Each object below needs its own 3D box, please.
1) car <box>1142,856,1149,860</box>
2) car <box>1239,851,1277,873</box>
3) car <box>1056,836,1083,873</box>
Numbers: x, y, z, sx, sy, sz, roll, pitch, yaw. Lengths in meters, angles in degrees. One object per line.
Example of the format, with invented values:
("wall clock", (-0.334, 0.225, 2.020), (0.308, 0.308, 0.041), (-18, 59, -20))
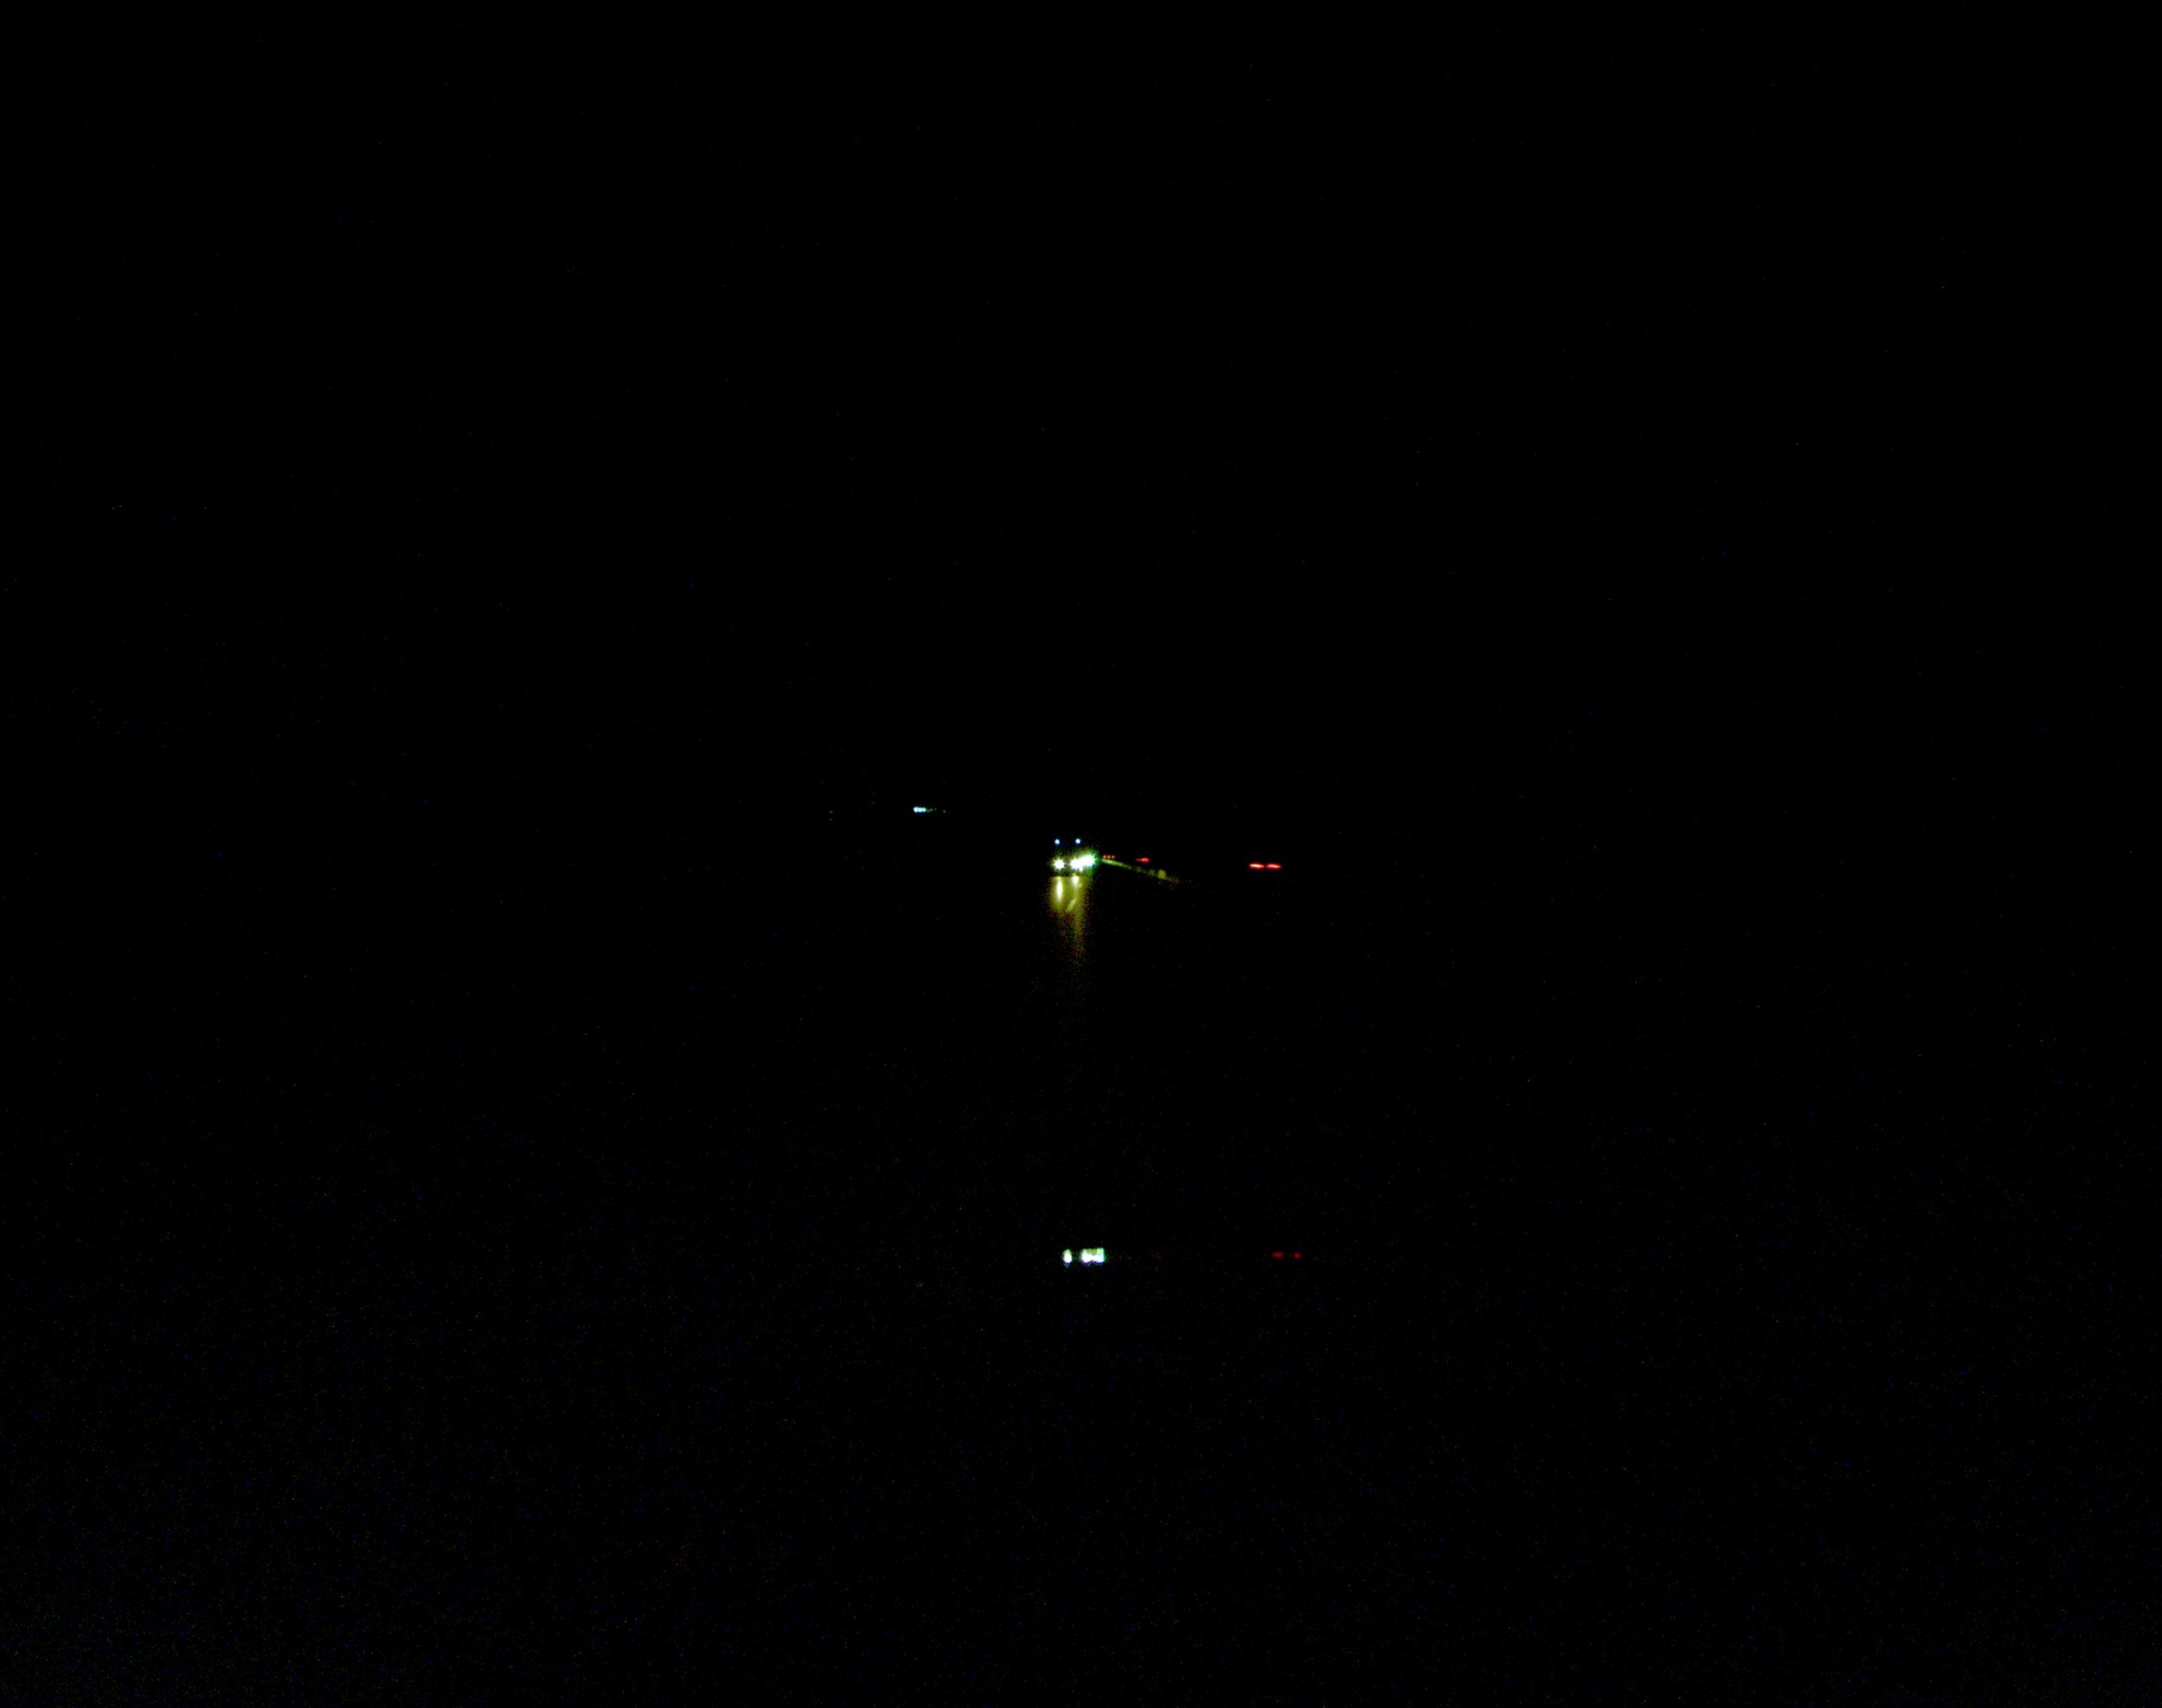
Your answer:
("car", (21.509, 1.360, 252.097), (1.968, 1.529, 5.185), (0, 0, 1))
("car", (14.036, 0.593, 60.383), (1.908, 1.633, 5.298), (0, 0, 1))
("car", (-1.003, 0.010, 70.276), (2.255, 3.205, 6.878), (-2, 0, 1))
